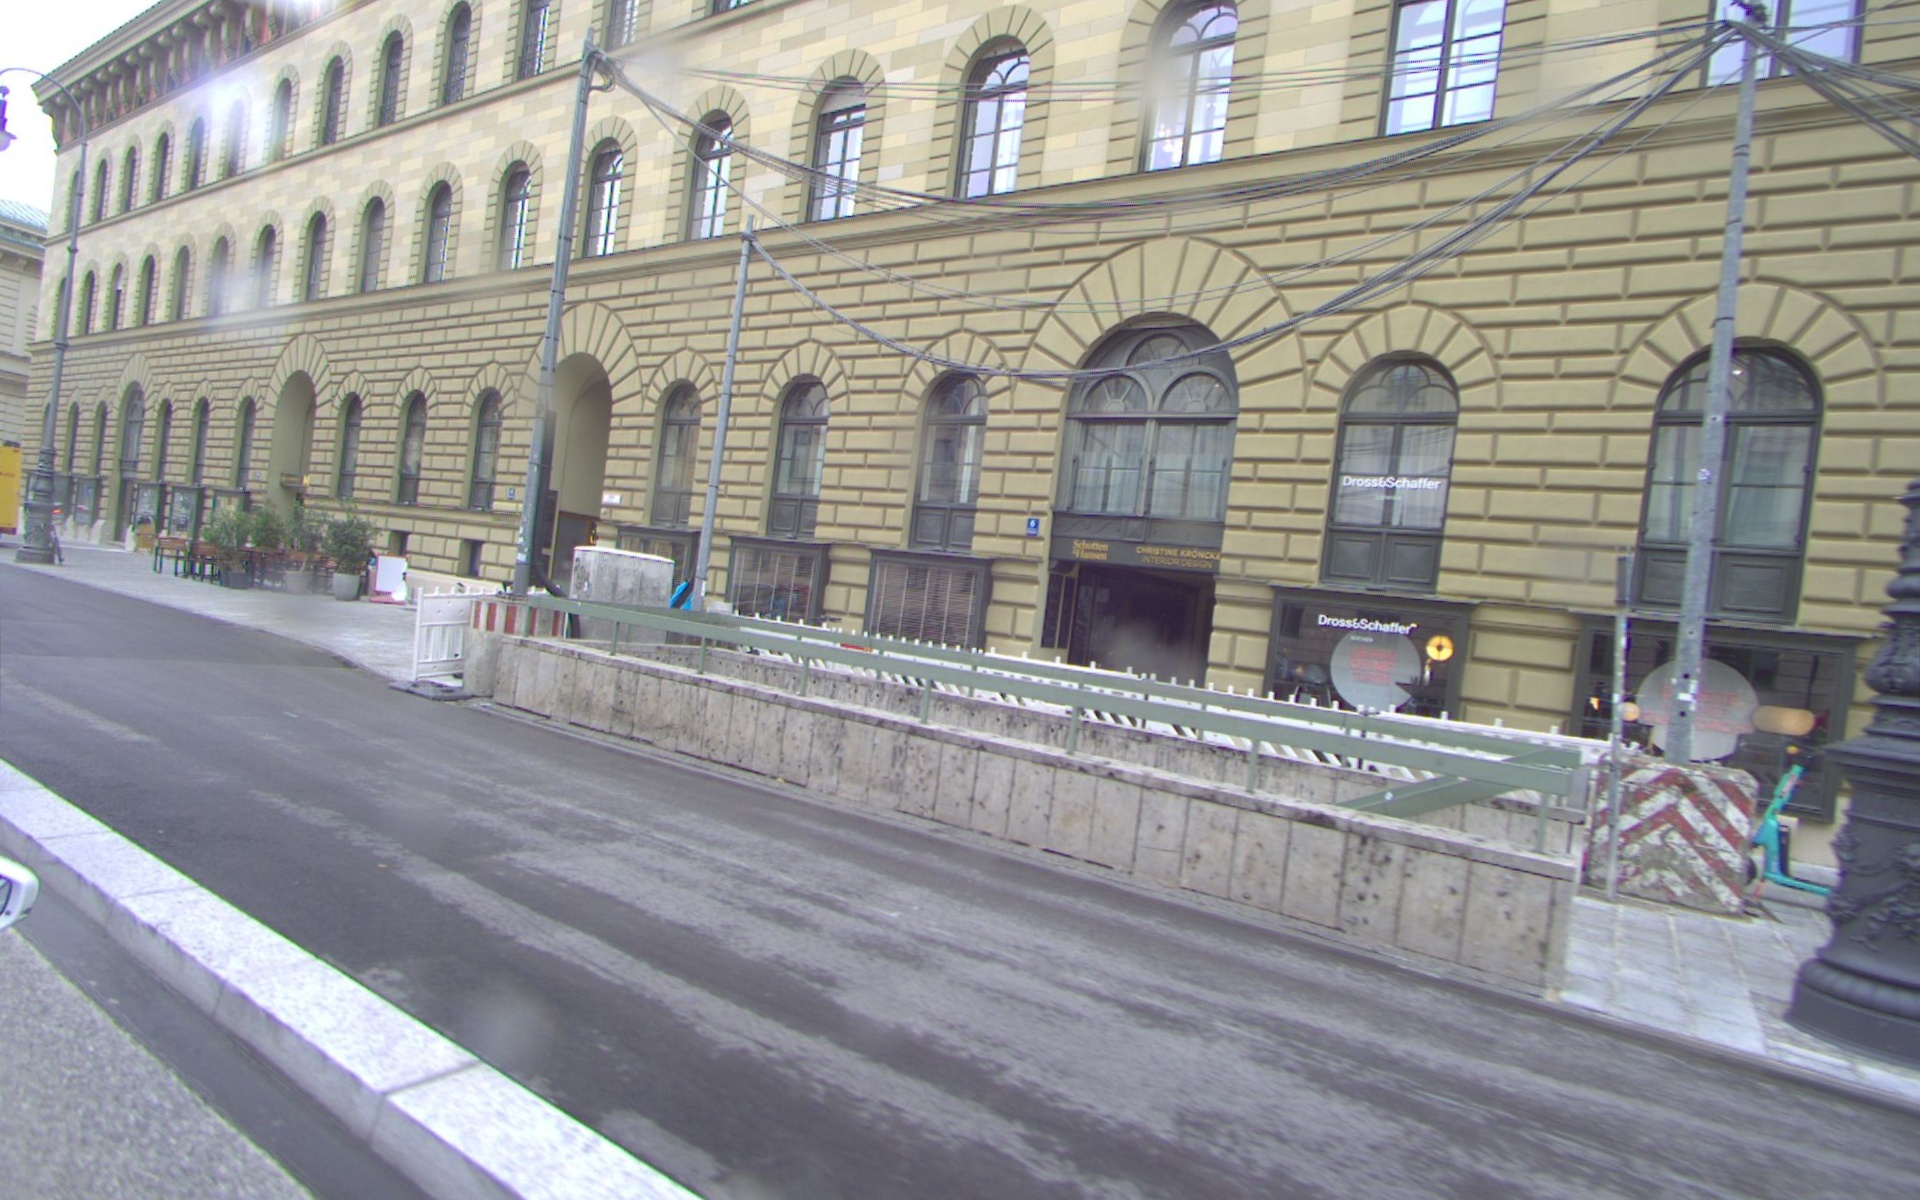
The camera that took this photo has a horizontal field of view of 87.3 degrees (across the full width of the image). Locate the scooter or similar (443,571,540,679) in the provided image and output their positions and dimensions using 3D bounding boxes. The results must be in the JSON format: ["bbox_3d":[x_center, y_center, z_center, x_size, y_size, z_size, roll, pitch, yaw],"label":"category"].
[{"bbox_3d":[-5.844,0.315,12.600,0.292,1.266,1.139,6,1,21],"label":"scooter or similar"}]

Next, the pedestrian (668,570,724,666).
[{"bbox_3d":[-4.535,0.310,17.294,0.621,1.573,0.499,6,0,33],"label":"pedestrian"}]

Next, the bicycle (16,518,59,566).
[{"bbox_3d":[-21.727,-1.370,23.684,1.628,1.034,0.517,5,-1,41],"label":"bicycle"}]

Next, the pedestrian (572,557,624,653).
[{"bbox_3d":[-6.845,0.097,19.002,0.555,1.733,0.669,6,0,-42],"label":"pedestrian"}]

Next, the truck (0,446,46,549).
[{"bbox_3d":[-29.671,-3.187,29.914,5.721,2.798,2.621,5,-1,38],"label":"truck"}]

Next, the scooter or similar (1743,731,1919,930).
[{"bbox_3d":[6.668,1.705,7.568,1.123,1.265,0.350,5,0,37],"label":"scooter or similar"}]
